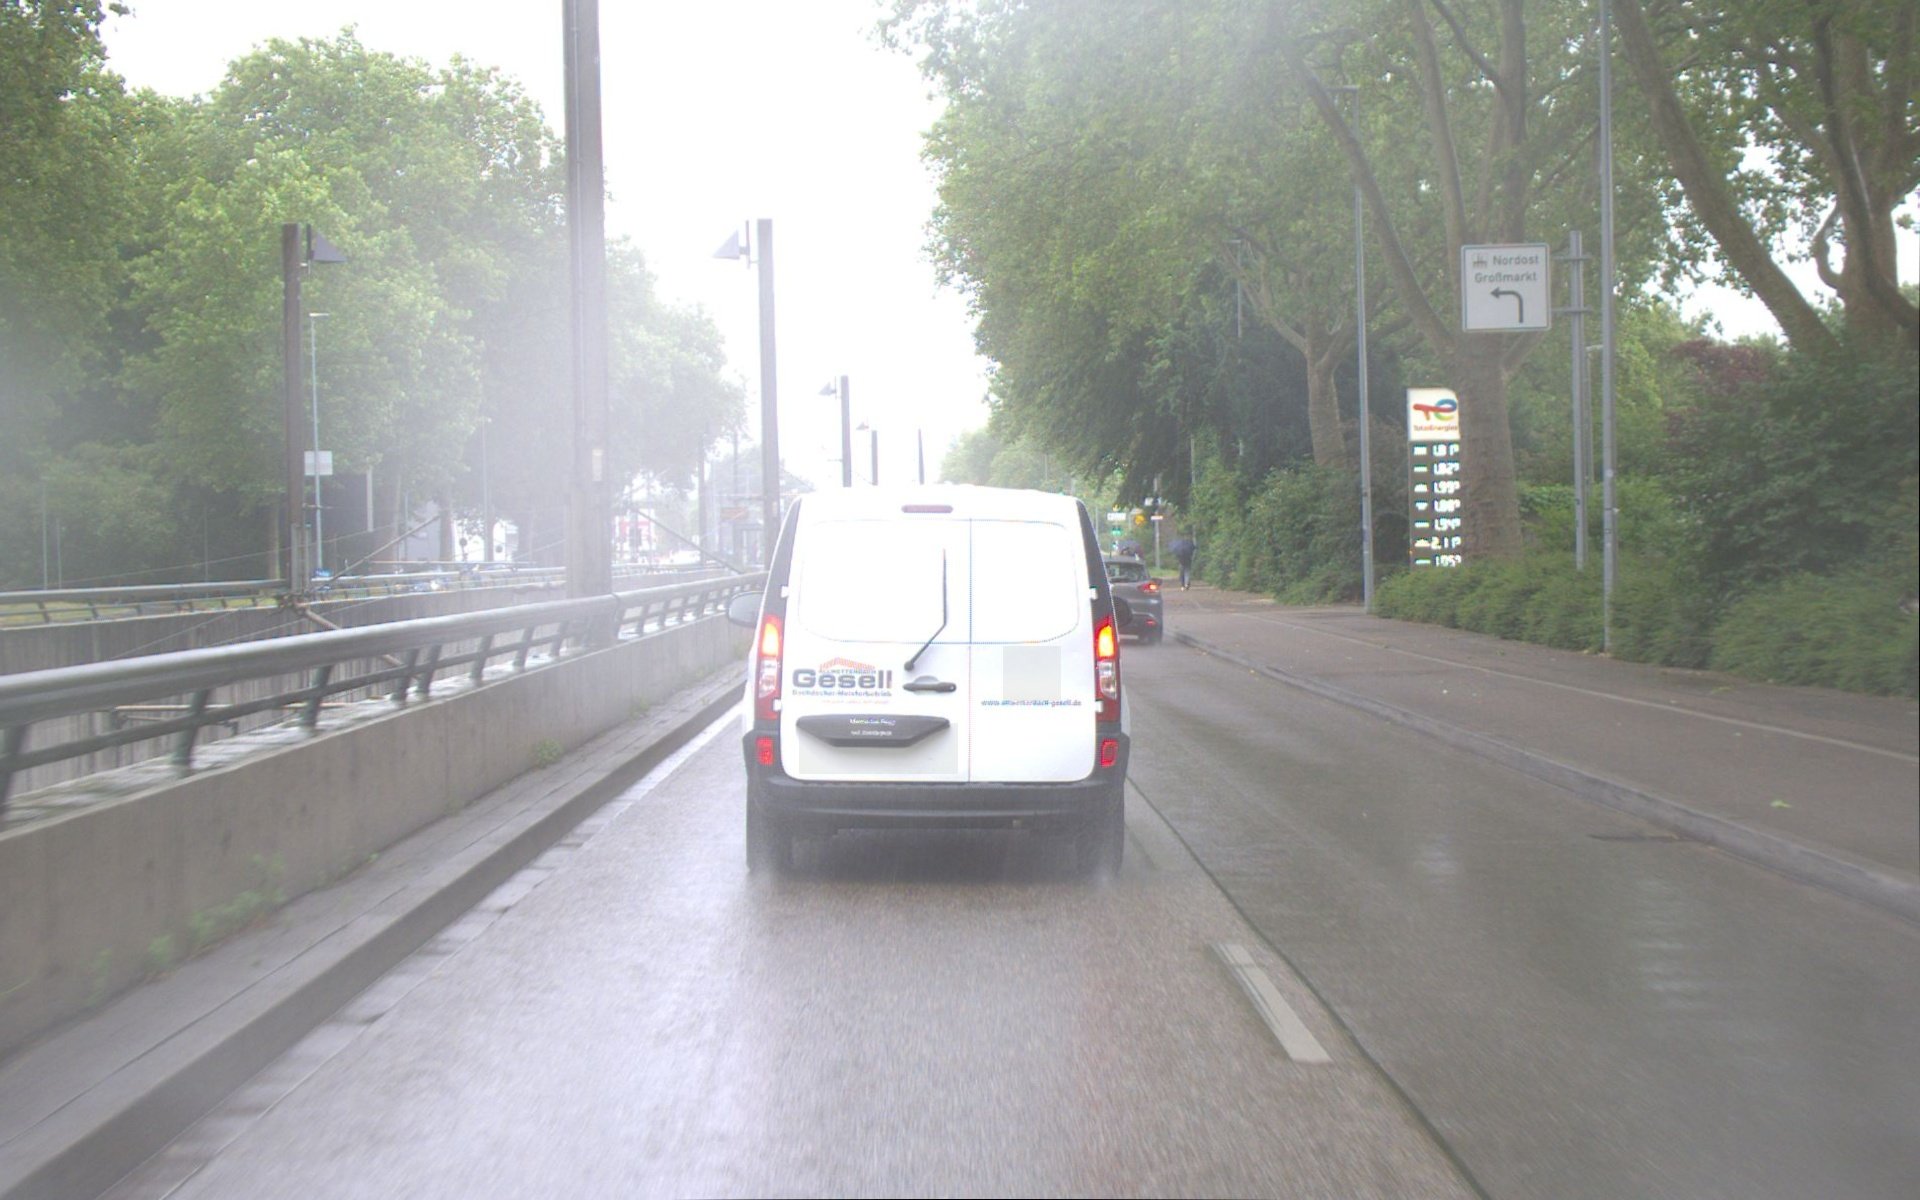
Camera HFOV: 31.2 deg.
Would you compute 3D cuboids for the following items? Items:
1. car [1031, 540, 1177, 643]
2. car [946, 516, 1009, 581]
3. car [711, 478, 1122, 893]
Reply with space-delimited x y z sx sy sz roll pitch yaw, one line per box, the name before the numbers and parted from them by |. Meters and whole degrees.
car | 2.323 -0.141 56.379 1.993 1.579 4.000 -2 0 -3
car | 0.612 -1.723 116.359 2.048 2.133 4.000 -1 0 1
car | -0.219 0.361 16.810 1.756 1.771 4.000 -1 0 -1
